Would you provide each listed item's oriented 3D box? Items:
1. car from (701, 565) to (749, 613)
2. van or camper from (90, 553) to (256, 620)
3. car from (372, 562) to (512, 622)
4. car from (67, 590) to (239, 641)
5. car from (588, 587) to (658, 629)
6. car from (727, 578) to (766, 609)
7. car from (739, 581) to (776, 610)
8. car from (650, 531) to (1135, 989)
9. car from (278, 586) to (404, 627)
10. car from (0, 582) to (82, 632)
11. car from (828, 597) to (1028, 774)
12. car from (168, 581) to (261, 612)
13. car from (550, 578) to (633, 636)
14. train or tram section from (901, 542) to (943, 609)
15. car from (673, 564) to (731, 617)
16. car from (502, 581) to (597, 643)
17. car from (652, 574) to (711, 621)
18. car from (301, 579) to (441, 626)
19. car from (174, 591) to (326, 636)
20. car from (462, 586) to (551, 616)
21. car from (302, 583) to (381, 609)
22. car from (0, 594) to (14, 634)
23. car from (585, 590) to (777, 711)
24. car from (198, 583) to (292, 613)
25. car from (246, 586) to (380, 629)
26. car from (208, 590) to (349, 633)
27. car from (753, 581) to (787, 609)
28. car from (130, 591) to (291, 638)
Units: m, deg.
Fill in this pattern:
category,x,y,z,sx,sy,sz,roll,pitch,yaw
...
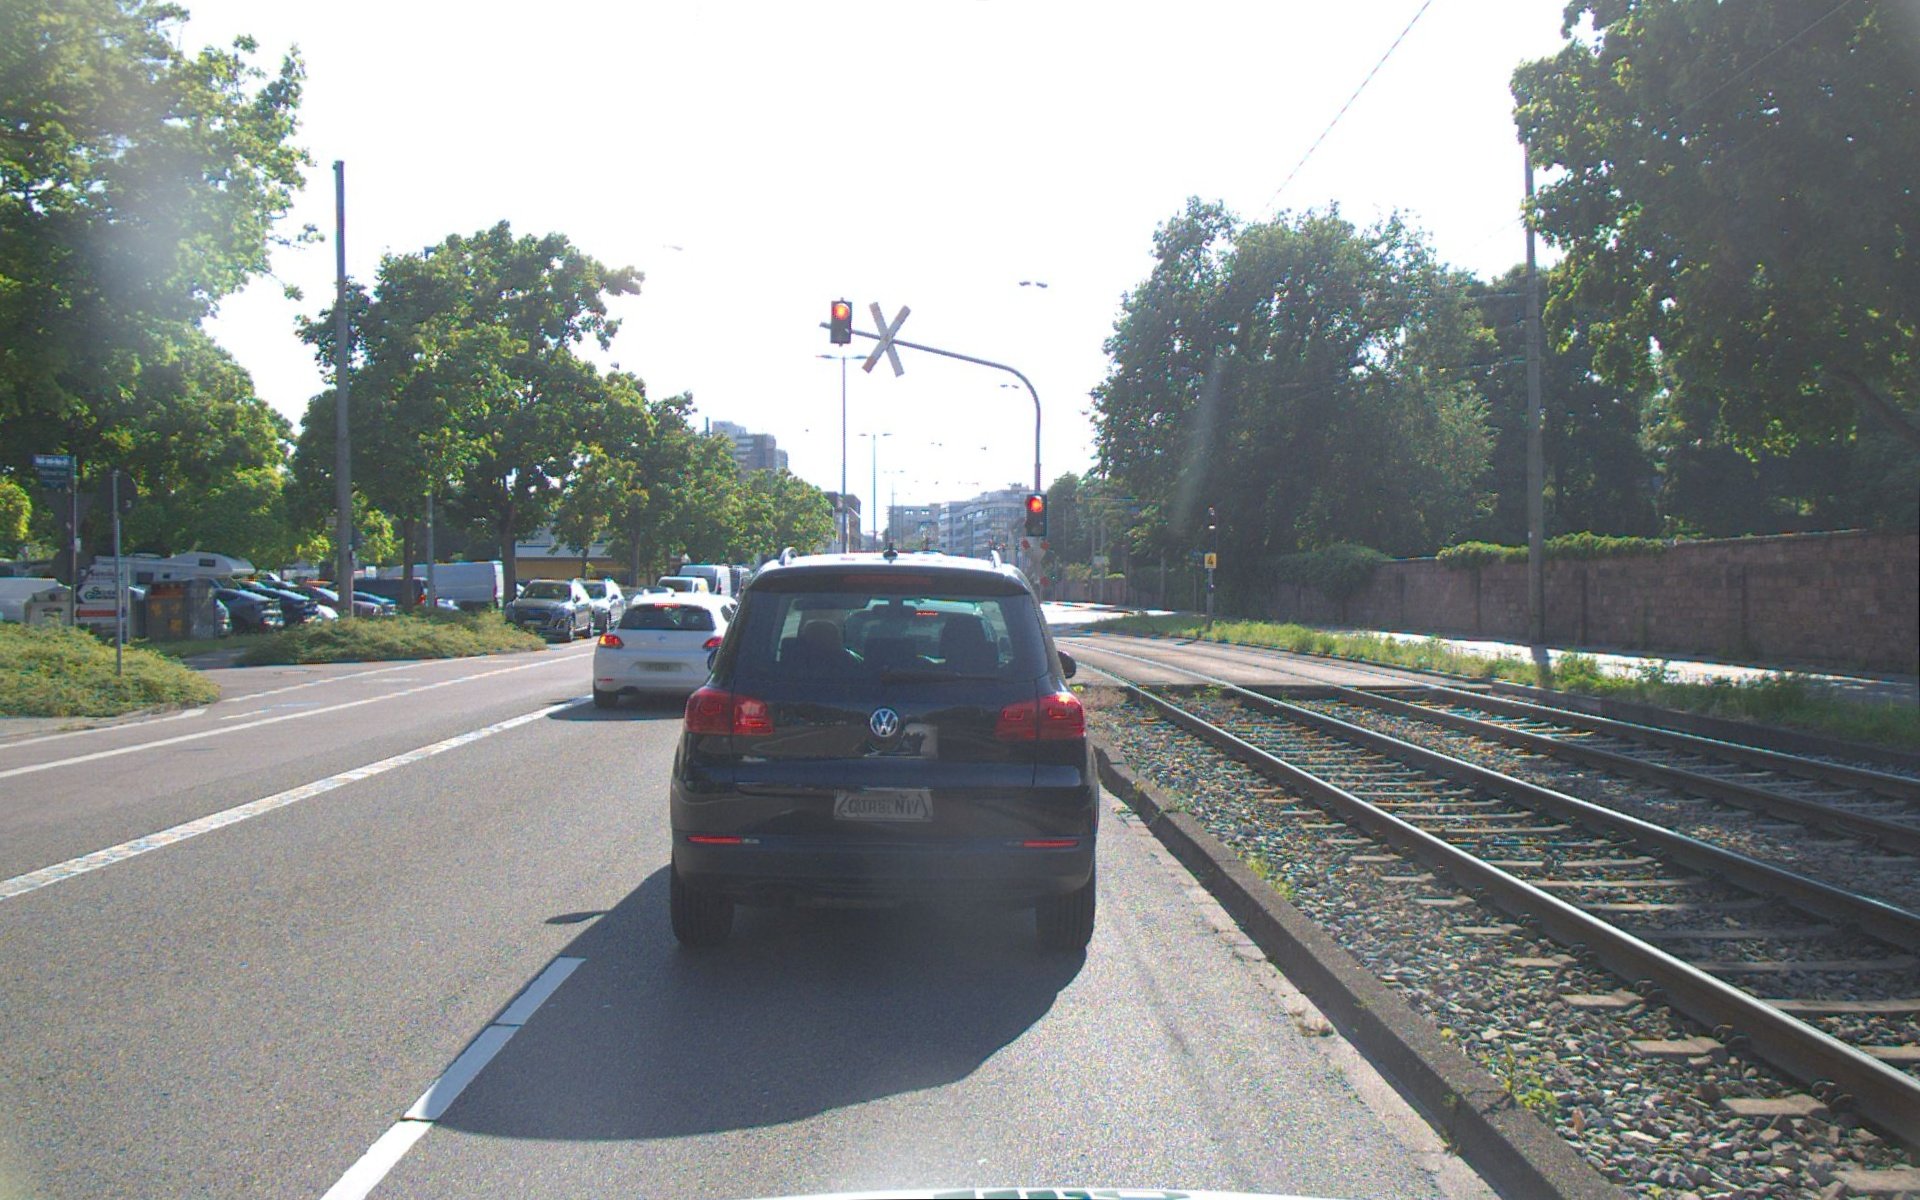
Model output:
category,x,y,z,sx,sy,sz,roll,pitch,yaw
car,-11.880,-0.568,83.800,1.696,2.308,4.645,0,1,0
van or camper,-35.291,-0.608,74.330,6.332,2.918,2.307,0,0,-1
car,-21.855,-0.352,69.933,5.266,2.466,2.087,0,0,-1
car,-22.409,0.416,46.032,3.908,1.330,1.736,0,1,-4
car,-12.007,0.275,59.094,1.696,1.413,3.735,0,1,0
car,-12.299,-0.390,95.440,1.696,1.724,4.001,0,1,0
car,-12.414,-0.279,101.502,1.696,1.724,4.001,0,1,0
car,-0.275,0.588,8.129,1.774,1.673,3.999,1,0,-1
car,-22.237,0.221,59.507,3.908,1.422,1.736,0,0,-4
car,-33.951,0.257,59.401,3.912,1.758,1.624,0,0,-8
car,-0.292,0.700,15.592,1.635,1.411,3.999,0,1,-1
car,-34.906,-0.161,77.508,3.591,1.422,1.736,0,0,-4
car,-11.703,0.191,52.786,1.696,1.724,4.001,0,1,0
train or tram section,-2.140,-1.383,95.008,2.279,3.632,8.898,0,1,-1
car,-11.967,-0.464,76.970,1.825,2.388,4.985,0,1,0
car,-11.664,0.293,47.243,1.696,1.686,4.000,0,1,0
car,-11.786,-0.127,70.300,1.696,1.892,4.489,0,1,0
car,-21.998,0.074,61.900,4.526,1.680,2.048,0,0,-3
car,-21.886,0.391,51.090,3.908,1.330,1.736,0,1,-4
car,-22.154,0.024,80.821,3.908,1.422,1.736,0,0,-4
car,-35.338,-0.221,94.588,3.908,1.422,1.736,0,0,-4
car,-35.063,0.503,57.118,3.903,1.384,1.628,0,0,4
car,-3.454,0.575,21.202,1.827,1.371,3.999,1,1,-1
car,-35.718,-0.112,82.664,3.908,1.422,1.736,0,0,-4
car,-22.067,0.251,56.533,3.908,1.422,1.736,0,0,-4
car,-22.334,0.361,54.323,3.908,1.330,1.736,0,1,-4
car,-12.268,-0.322,106.826,1.696,1.724,4.001,0,1,0
car,-21.915,0.415,48.455,3.908,1.330,1.736,0,1,-4
